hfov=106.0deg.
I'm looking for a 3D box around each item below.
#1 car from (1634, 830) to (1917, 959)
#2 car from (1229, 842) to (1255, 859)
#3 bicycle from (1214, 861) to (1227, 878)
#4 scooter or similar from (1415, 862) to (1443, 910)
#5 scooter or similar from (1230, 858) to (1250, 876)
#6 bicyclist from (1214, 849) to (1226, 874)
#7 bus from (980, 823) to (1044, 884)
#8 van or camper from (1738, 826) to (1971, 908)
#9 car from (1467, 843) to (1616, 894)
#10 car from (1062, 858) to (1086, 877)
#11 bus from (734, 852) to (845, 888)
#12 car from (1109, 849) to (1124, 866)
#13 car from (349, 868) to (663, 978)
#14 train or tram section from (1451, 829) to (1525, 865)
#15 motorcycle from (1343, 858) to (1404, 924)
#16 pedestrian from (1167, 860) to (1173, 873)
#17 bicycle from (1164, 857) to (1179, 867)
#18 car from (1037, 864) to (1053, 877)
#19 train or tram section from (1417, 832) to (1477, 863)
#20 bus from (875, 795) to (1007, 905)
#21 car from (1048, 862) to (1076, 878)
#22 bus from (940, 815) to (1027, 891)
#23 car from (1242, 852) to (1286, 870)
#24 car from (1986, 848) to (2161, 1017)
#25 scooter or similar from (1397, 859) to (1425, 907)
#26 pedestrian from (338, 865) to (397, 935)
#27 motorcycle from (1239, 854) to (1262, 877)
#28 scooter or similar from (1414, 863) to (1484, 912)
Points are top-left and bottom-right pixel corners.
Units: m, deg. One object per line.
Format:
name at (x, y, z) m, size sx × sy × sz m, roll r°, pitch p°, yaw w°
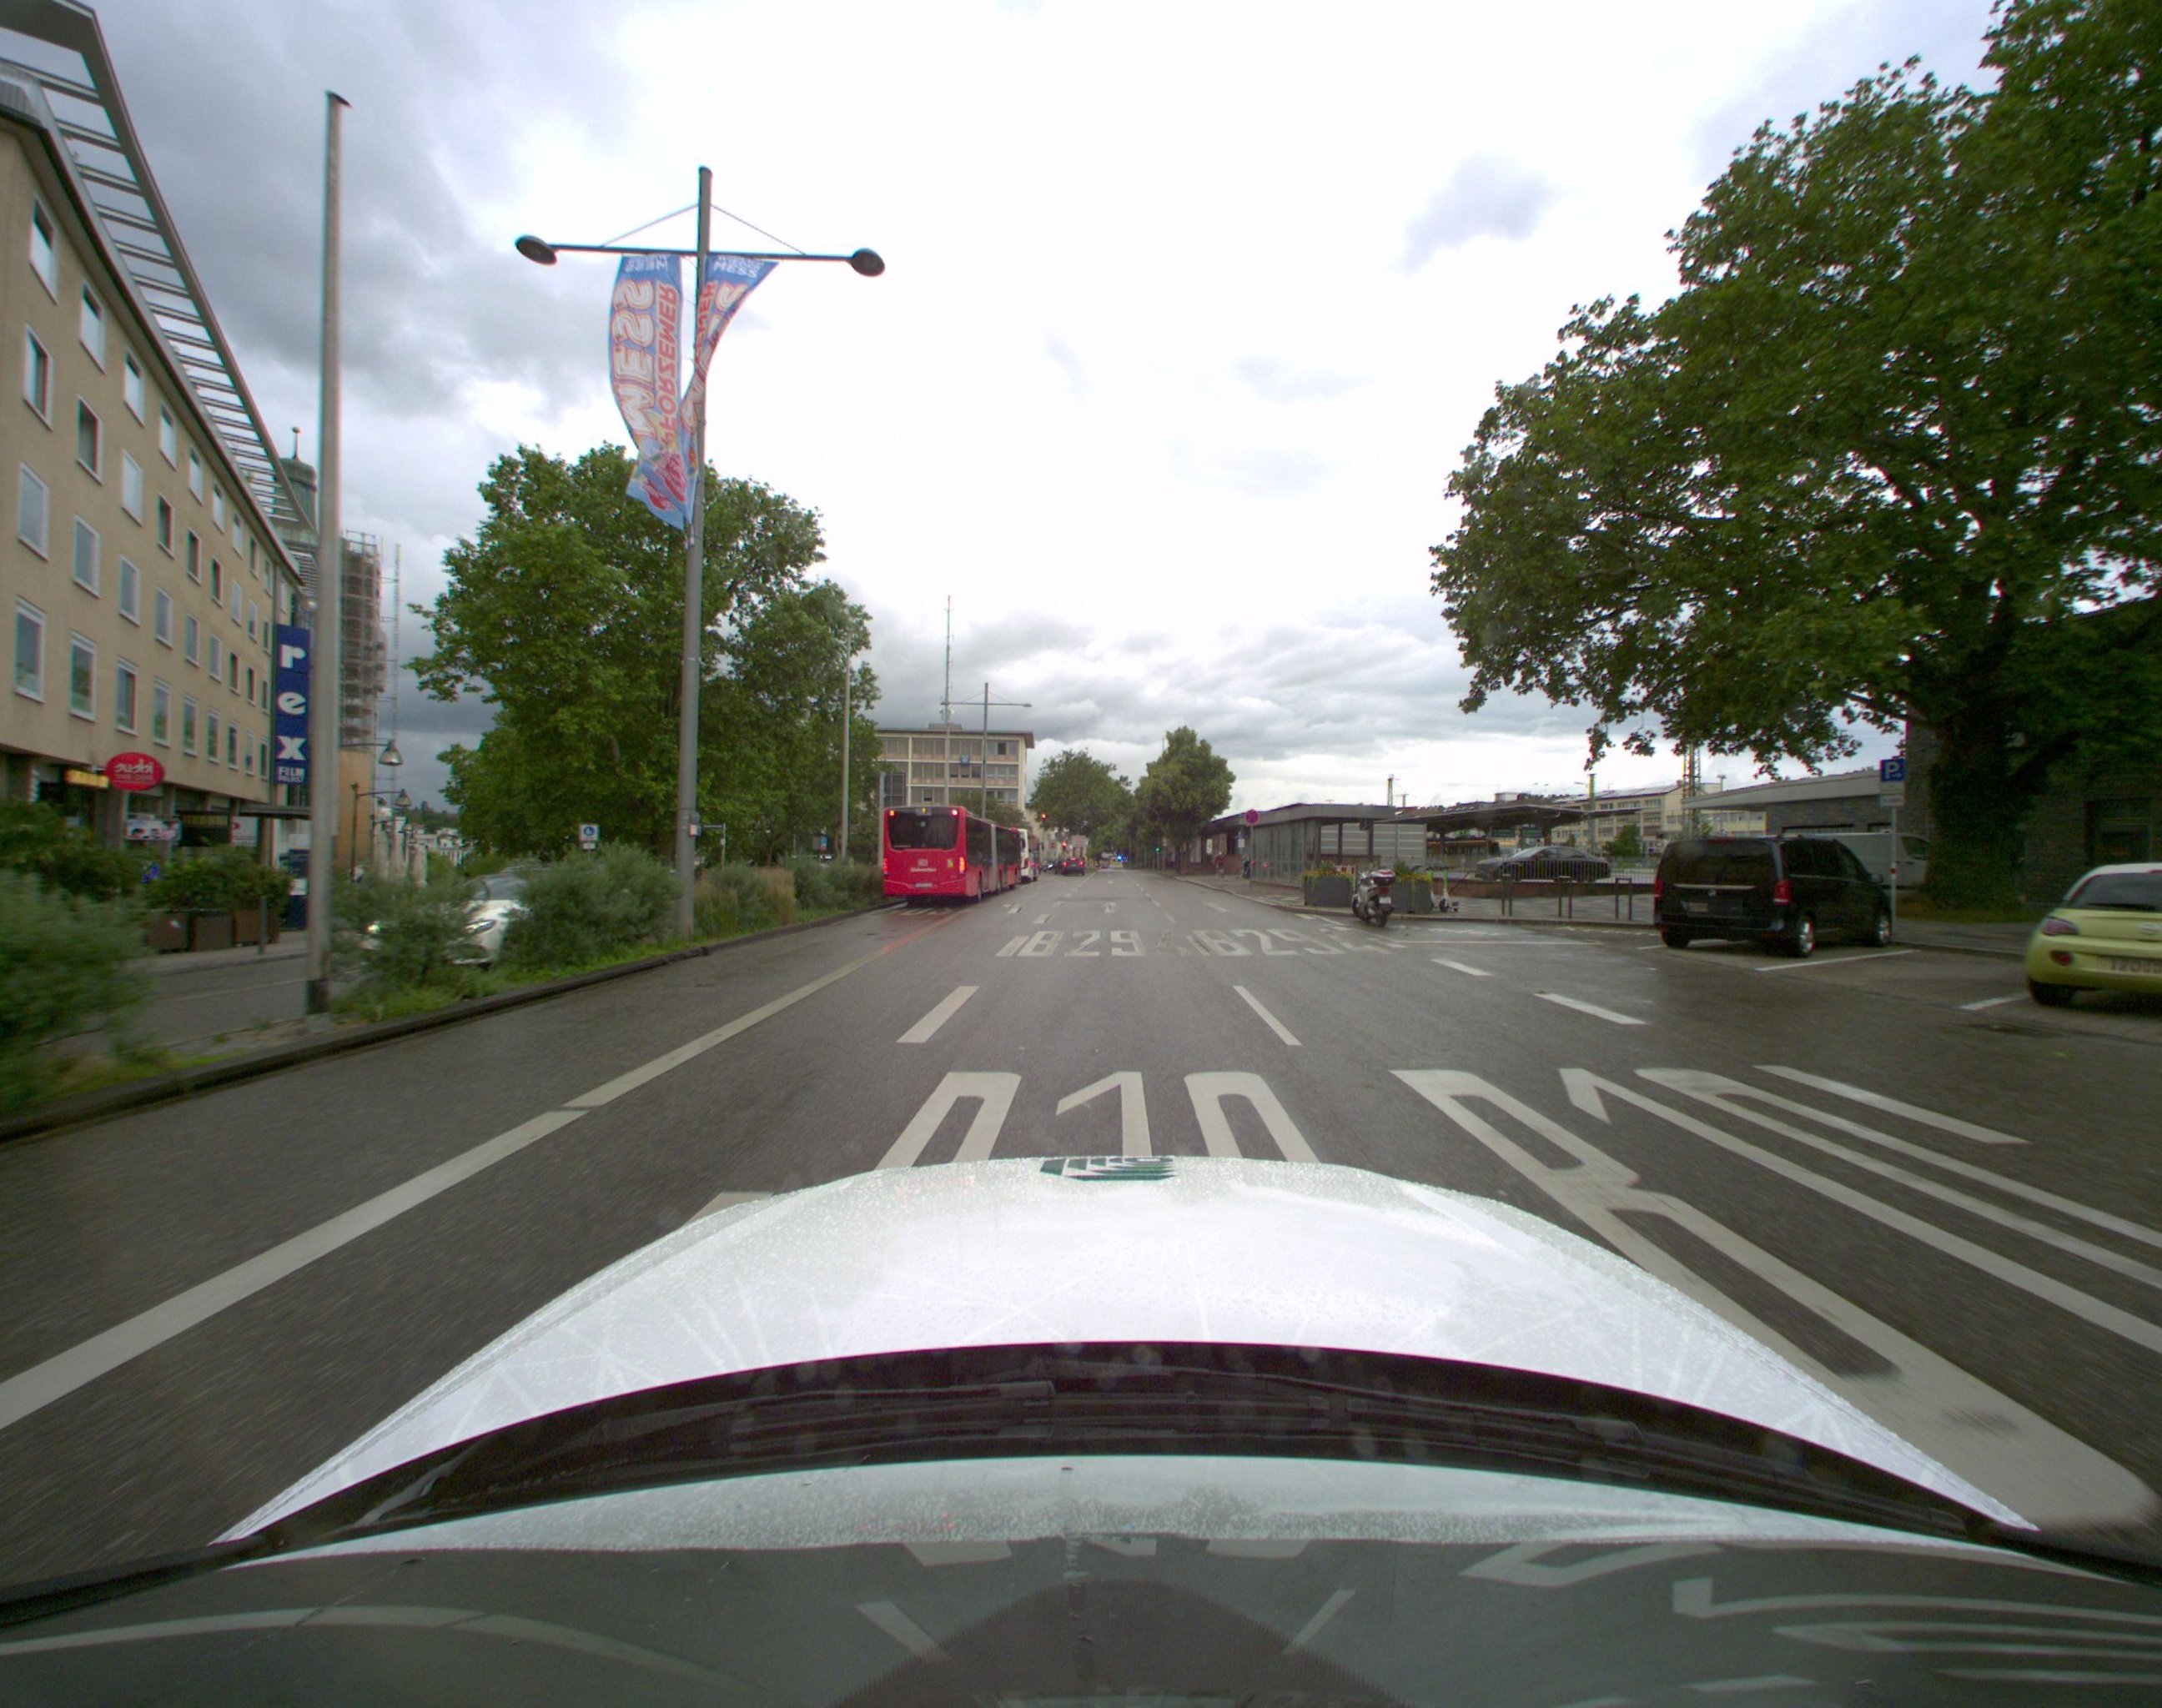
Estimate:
car at (11.832, 0.571, 13.837) m, size 4.711 × 1.874 × 2.090 m, roll -1°, pitch 0°, yaw -28°
car at (18.044, -0.398, 91.282) m, size 1.987 × 1.871 × 4.597 m, roll 0°, pitch -1°, yaw 0°
bicycle at (8.751, 0.983, 51.147) m, size 0.445 × 1.016 × 1.677 m, roll -3°, pitch -1°, yaw -1°
scooter or similar at (8.747, 0.802, 20.462) m, size 0.409 × 1.155 × 1.271 m, roll 2°, pitch 0°, yaw 32°
scooter or similar at (9.927, 0.812, 50.920) m, size 0.494 × 1.153 × 1.705 m, roll 0°, pitch -1°, yaw -18°
bicyclist at (8.735, 0.484, 51.169) m, size 0.532 × 1.538 × 0.694 m, roll -2°, pitch -1°, yaw -1°
bus at (-4.200, -0.026, 52.568) m, size 2.945 × 3.439 × 12.558 m, roll 0°, pitch 0°, yaw 0°
van or camper at (20.284, 0.333, 21.500) m, size 4.265 × 1.990 × 2.021 m, roll -1°, pitch 0°, yaw 0°
car at (17.901, 0.536, 31.834) m, size 4.673 × 1.874 × 2.107 m, roll -1°, pitch 0°, yaw -3°
car at (-0.589, 1.150, 71.124) m, size 1.958 × 1.640 × 4.358 m, roll -1°, pitch -1°, yaw 0°
bus at (-30.488, 1.701, 84.943) m, size 11.829 × 3.019 × 2.905 m, roll -4°, pitch -2°, yaw 22°
car at (5.577, 0.493, 128.525) m, size 2.257 × 2.656 × 3.999 m, roll 0°, pitch 0°, yaw 0°
car at (-9.127, 0.982, 13.618) m, size 1.786 × 1.407 × 4.981 m, roll -1°, pitch 0°, yaw -2°
train or tram section at (40.718, -0.605, 81.846) m, size 2.645 × 3.282 × 9.519 m, roll -1°, pitch -1°, yaw 0°
motorcycle at (6.381, 0.765, 17.881) m, size 0.640 × 1.352 × 2.110 m, roll -1°, pitch 0°, yaw 2°
pedestrian at (10.595, 1.447, 96.935) m, size 0.452 × 1.569 × 0.396 m, roll -2°, pitch -1°, yaw 33°
bicycle at (10.804, 0.965, 97.336) m, size 1.703 × 1.249 × 0.489 m, roll -2°, pitch -1°, yaw 33°
car at (-4.370, 1.969, 97.957) m, size 1.877 × 1.510 × 3.716 m, roll 1°, pitch -1°, yaw -4°
train or tram section at (40.758, -0.618, 91.131) m, size 2.645 × 3.282 × 9.133 m, roll -1°, pitch -1°, yaw 0°
bus at (-4.607, -0.106, 29.083) m, size 2.800 × 3.245 × 9.915 m, roll 0°, pitch 0°, yaw 1°
car at (-1.856, 1.499, 78.110) m, size 1.818 × 1.409 × 4.392 m, roll -1°, pitch -1°, yaw -15°
bus at (-4.359, -0.043, 38.410) m, size 2.741 × 3.132 × 8.847 m, roll 0°, pitch 0°, yaw 2°
car at (15.778, 0.603, 70.482) m, size 3.540 × 1.542 × 1.750 m, roll -1°, pitch 0°, yaw 6°
car at (11.407, 0.710, 8.442) m, size 3.596 × 1.524 × 1.748 m, roll -1°, pitch 0°, yaw -25°
scooter or similar at (8.405, 0.732, 20.744) m, size 0.409 × 1.155 × 1.271 m, roll 2°, pitch 0°, yaw 32°
pedestrian at (-16.242, 1.021, 18.555) m, size 0.690 × 1.529 × 0.725 m, roll -1°, pitch 0°, yaw -11°
motorcycle at (10.130, 0.674, 48.730) m, size 0.789 × 1.348 × 2.456 m, roll 0°, pitch 0°, yaw -1°
scooter or similar at (9.346, 0.825, 20.763) m, size 1.061 × 1.155 × 1.668 m, roll 2°, pitch 0°, yaw 2°
